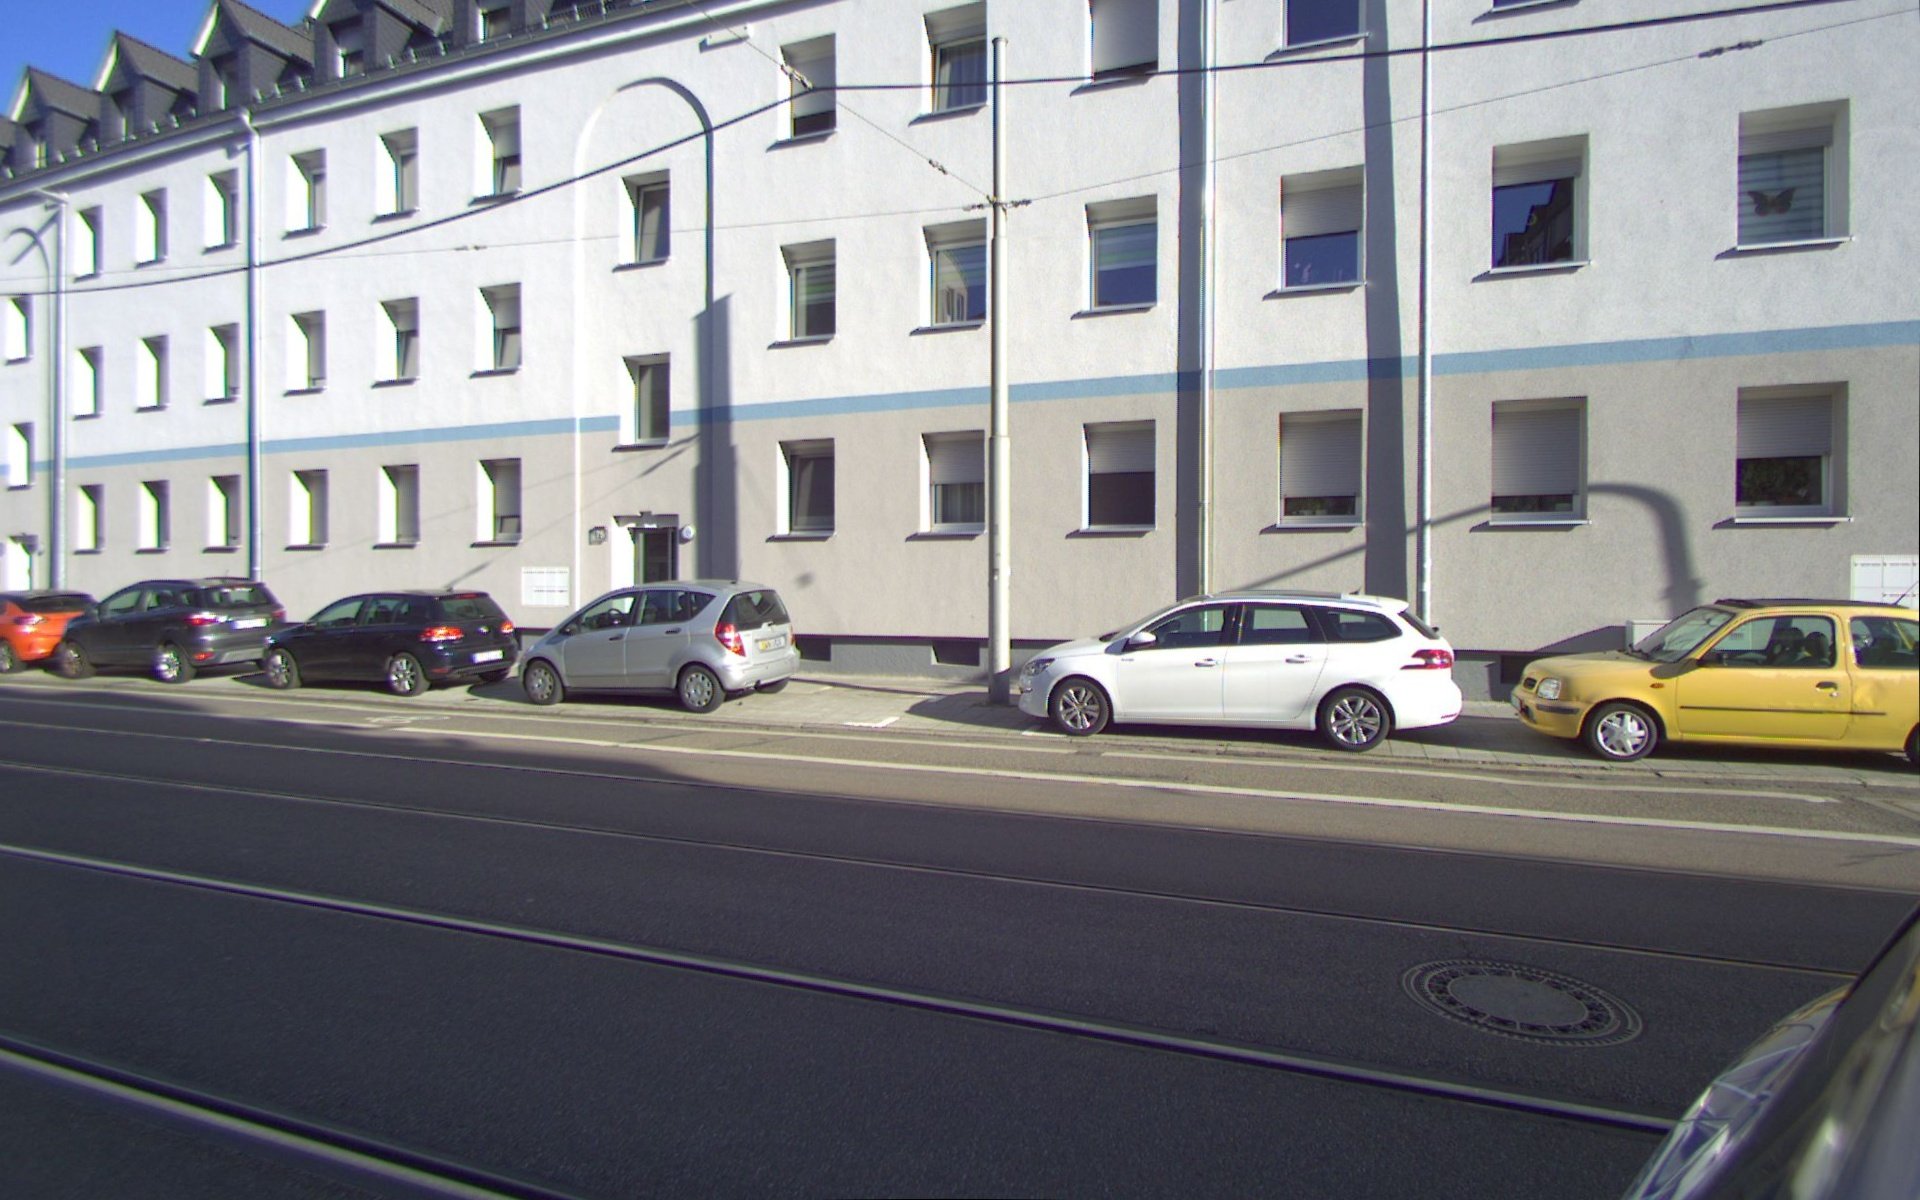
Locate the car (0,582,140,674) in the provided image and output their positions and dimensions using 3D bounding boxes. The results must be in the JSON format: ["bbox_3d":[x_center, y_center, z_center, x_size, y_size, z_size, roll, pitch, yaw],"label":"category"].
[{"bbox_3d":[-17.836,0.501,19.293,3.734,1.501,1.790,-1,4,22],"label":"car"}]

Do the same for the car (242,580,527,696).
[{"bbox_3d":[-8.765,0.527,15.442,3.957,1.556,1.587,-1,3,21],"label":"car"}]

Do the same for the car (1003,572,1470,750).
[{"bbox_3d":[2.835,0.546,10.778,4.455,1.590,1.674,0,2,21],"label":"car"}]

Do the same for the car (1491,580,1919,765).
[{"bbox_3d":[7.255,0.593,9.142,4.149,1.448,1.509,-1,1,21],"label":"car"}]

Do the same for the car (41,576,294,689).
[{"bbox_3d":[-13.564,0.499,17.330,3.858,1.689,1.655,0,4,22],"label":"car"}]

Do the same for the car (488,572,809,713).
[{"bbox_3d":[-4.165,0.498,13.588,3.858,1.589,1.748,0,4,23],"label":"car"}]
